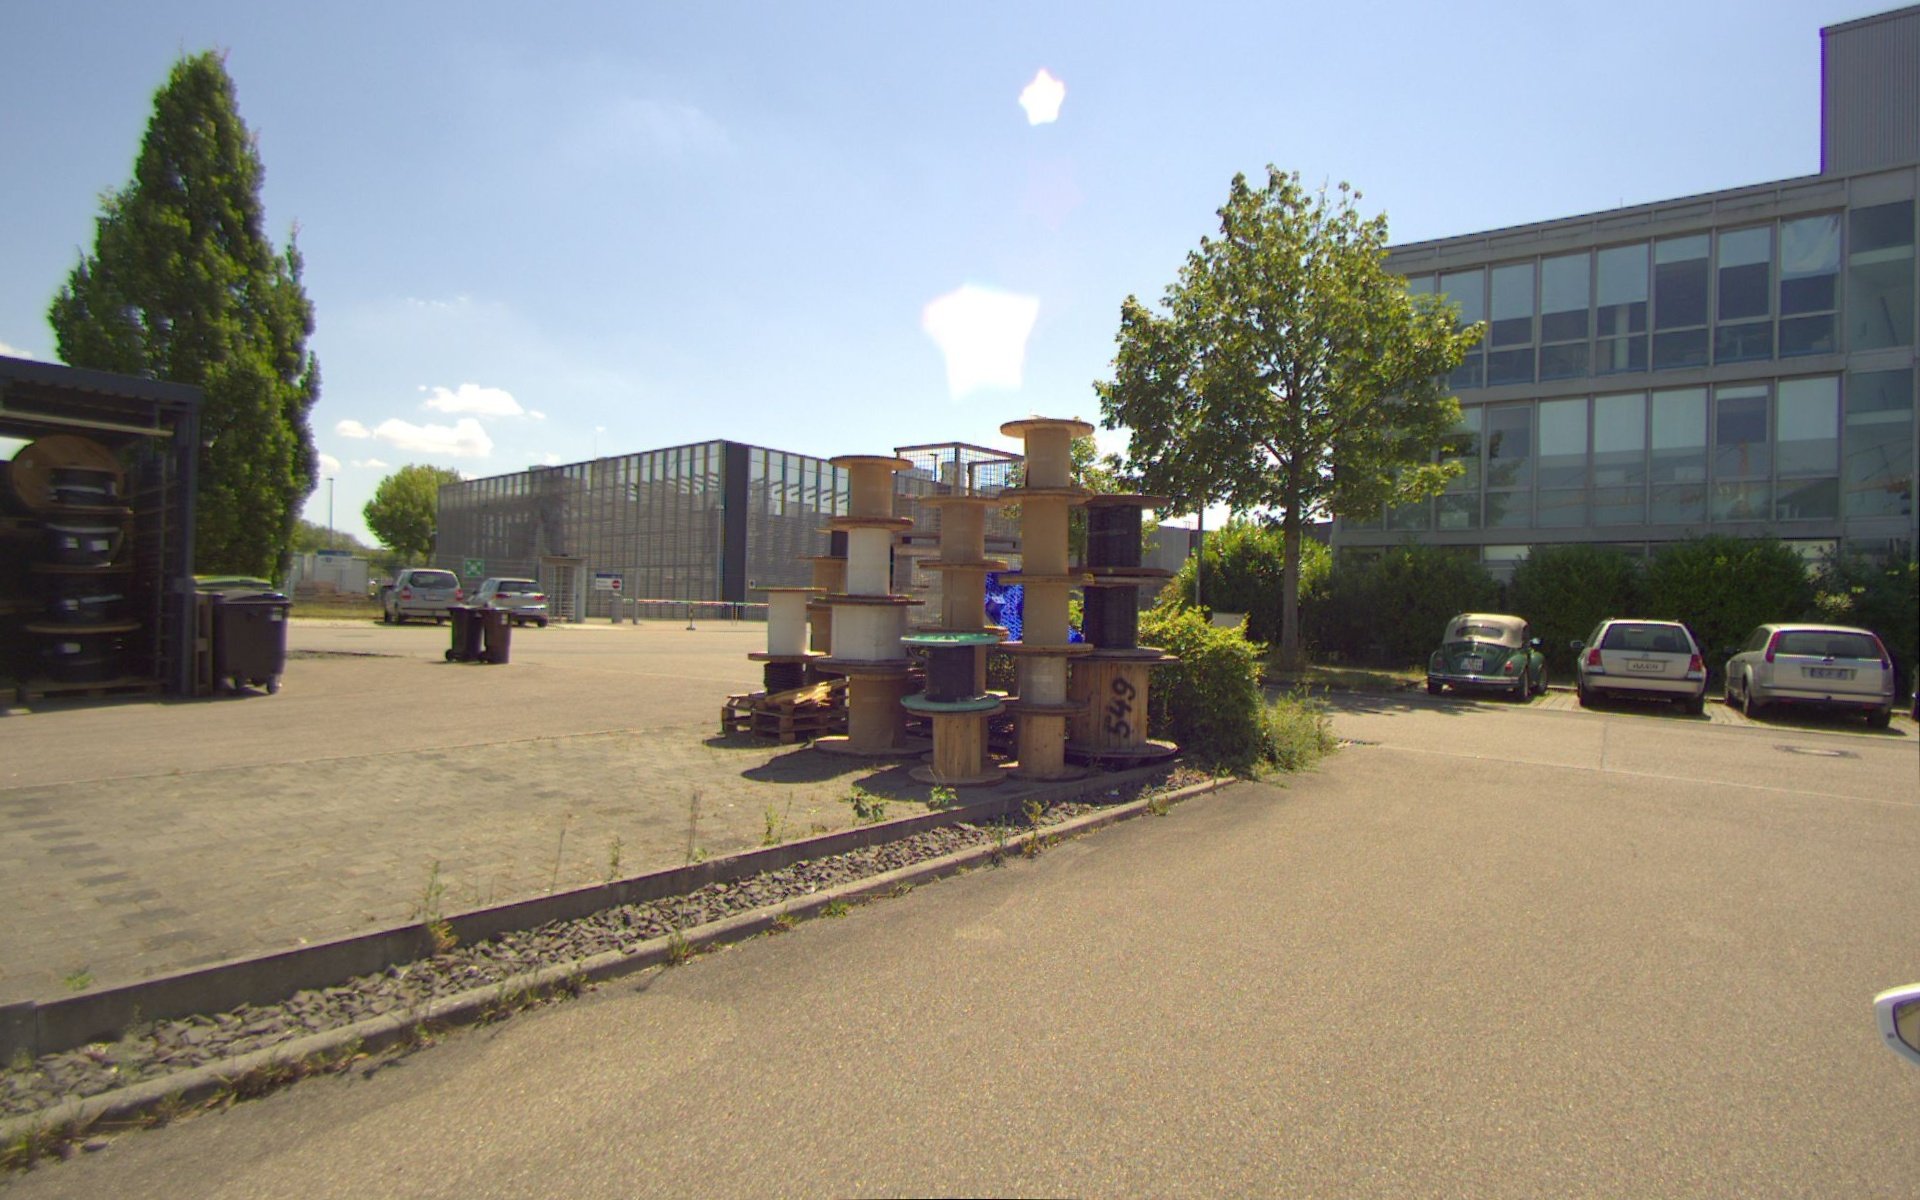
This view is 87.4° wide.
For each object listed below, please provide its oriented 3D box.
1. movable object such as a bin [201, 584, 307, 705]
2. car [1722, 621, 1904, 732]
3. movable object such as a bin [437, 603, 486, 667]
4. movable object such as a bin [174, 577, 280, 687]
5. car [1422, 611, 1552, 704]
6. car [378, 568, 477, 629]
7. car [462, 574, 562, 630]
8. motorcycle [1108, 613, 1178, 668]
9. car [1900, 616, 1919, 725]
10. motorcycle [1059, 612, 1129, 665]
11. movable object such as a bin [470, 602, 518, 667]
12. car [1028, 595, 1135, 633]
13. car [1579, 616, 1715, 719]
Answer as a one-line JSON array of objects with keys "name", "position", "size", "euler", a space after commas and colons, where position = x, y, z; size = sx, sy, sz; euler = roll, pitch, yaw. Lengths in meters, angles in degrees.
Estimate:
[{"name": "movable object such as a bin", "position": [-8.380, 0.505, 11.924], "size": [0.802, 1.362, 0.879], "euler": [1, 0, 45]}, {"name": "car", "position": [13.691, 1.130, 16.338], "size": [1.741, 1.468, 3.644], "euler": [2, 1, 33]}, {"name": "movable object such as a bin", "position": [-8.356, 0.585, 16.841], "size": [0.570, 1.041, 0.426], "euler": [2, 0, 6]}, {"name": "movable object such as a bin", "position": [-9.385, 0.402, 12.868], "size": [0.700, 1.347, 0.967], "euler": [1, 0, 45]}, {"name": "car", "position": [9.728, 0.971, 18.425], "size": [1.522, 1.468, 3.640], "euler": [3, 1, 37]}, {"name": "car", "position": [-15.908, -0.068, 29.922], "size": [1.982, 1.611, 3.958], "euler": [4, -1, -37]}, {"name": "car", "position": [-13.978, 0.035, 31.214], "size": [1.982, 1.511, 3.958], "euler": [4, -1, -37]}, {"name": "motorcycle", "position": [4.074, 0.871, 22.263], "size": [0.704, 1.153, 1.949], "euler": [1, 0, 38]}, {"name": "car", "position": [15.391, 1.106, 14.727], "size": [1.903, 1.632, 3.970], "euler": [3, 1, 37]}, {"name": "motorcycle", "position": [3.103, 0.856, 23.063], "size": [0.704, 1.153, 1.949], "euler": [1, 0, 38]}, {"name": "movable object such as a bin", "position": [-7.774, 0.575, 16.775], "size": [0.567, 1.050, 0.426], "euler": [2, 0, 6]}, {"name": "car", "position": [5.382, 0.587, 45.125], "size": [1.981, 1.511, 4.803], "euler": [1, 1, -37]}, {"name": "car", "position": [11.667, 1.058, 17.188], "size": [1.707, 1.468, 3.644], "euler": [2, 1, 33]}]
